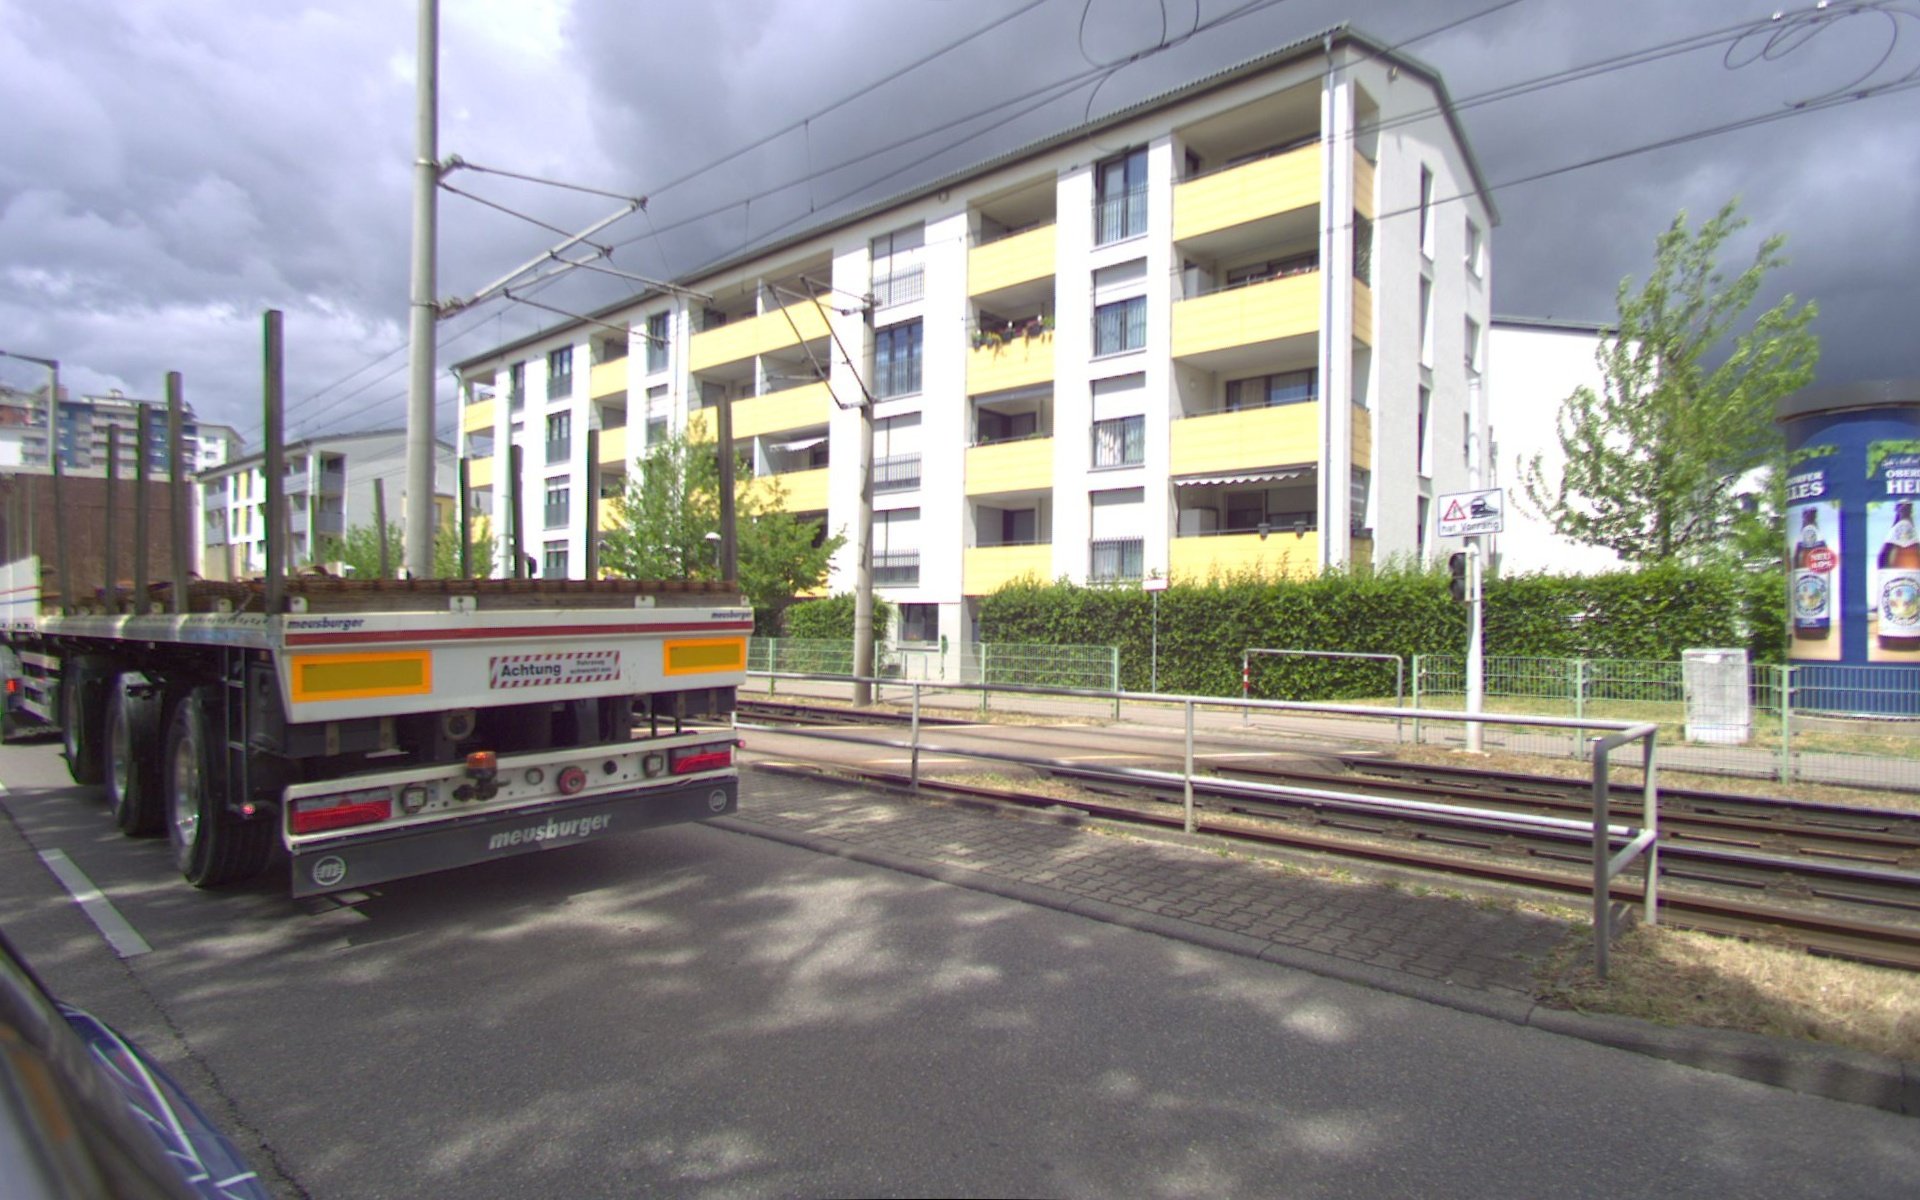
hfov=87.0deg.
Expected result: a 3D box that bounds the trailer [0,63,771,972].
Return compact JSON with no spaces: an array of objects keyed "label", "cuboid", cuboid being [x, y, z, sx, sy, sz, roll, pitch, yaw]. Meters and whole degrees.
[{"label":"trailer","cuboid":[-7.065,-0.182,9.627,13.672,3.607,2.669,-2,-1,43]}]

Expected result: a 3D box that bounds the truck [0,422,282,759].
[{"label":"truck","cuboid":[-11.717,-0.035,13.858,6.143,3.607,2.669,-2,-1,42]}]
